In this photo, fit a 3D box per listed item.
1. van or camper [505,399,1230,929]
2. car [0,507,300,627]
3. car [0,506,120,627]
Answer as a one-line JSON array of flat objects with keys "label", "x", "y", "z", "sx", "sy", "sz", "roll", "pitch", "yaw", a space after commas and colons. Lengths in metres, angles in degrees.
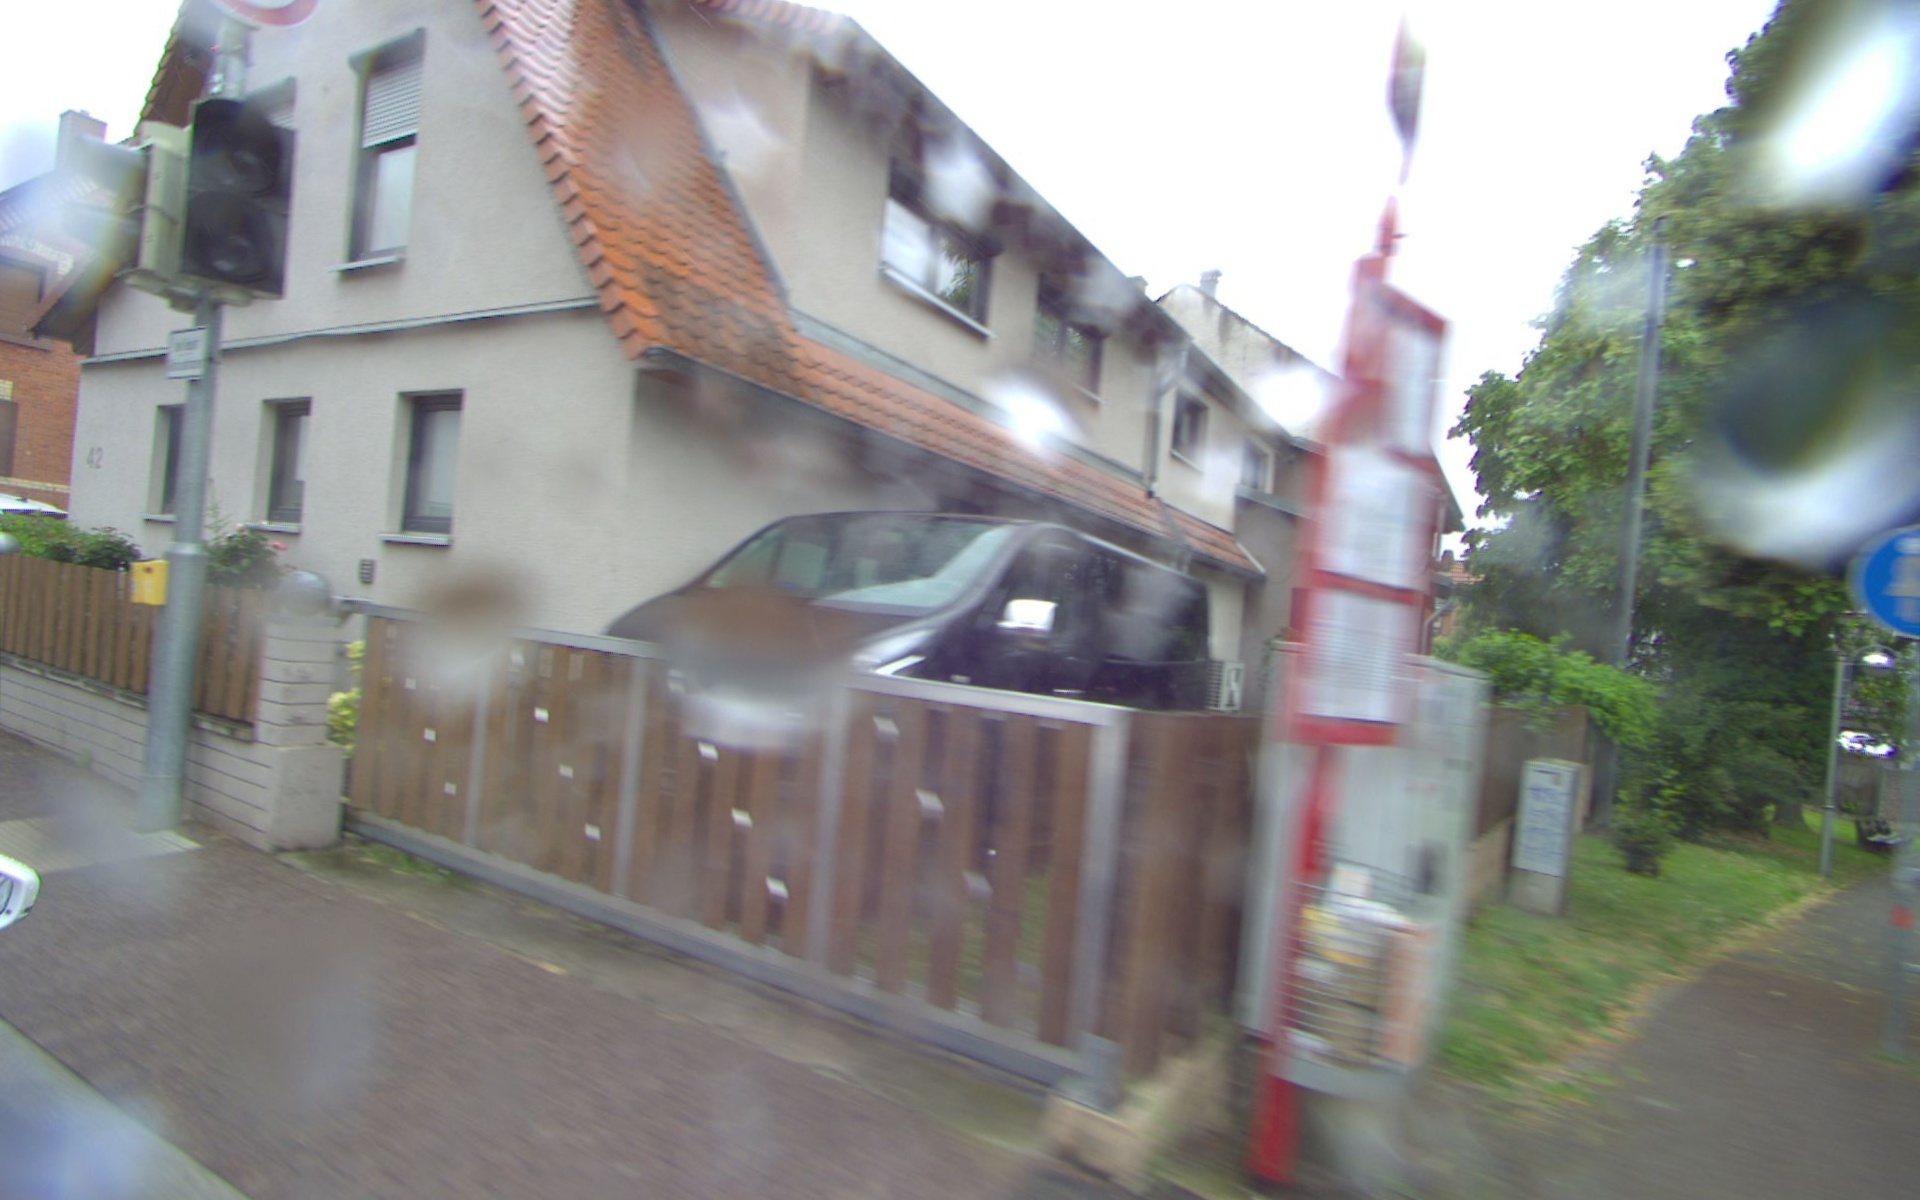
[{"label": "van or camper", "x": 0.060, "y": 0.414, "z": 6.347, "sx": 1.844, "sy": 1.944, "sz": 5.083, "roll": 6, "pitch": -3, "yaw": 29}, {"label": "car", "x": -14.465, "y": -0.553, "z": 17.879, "sx": 4.211, "sy": 1.535, "sz": 1.878, "roll": 7, "pitch": 0, "yaw": 6}, {"label": "car", "x": -15.409, "y": -0.762, "z": 14.672, "sx": 4.535, "sy": 1.608, "sz": 1.878, "roll": 9, "pitch": -1, "yaw": 0}]
